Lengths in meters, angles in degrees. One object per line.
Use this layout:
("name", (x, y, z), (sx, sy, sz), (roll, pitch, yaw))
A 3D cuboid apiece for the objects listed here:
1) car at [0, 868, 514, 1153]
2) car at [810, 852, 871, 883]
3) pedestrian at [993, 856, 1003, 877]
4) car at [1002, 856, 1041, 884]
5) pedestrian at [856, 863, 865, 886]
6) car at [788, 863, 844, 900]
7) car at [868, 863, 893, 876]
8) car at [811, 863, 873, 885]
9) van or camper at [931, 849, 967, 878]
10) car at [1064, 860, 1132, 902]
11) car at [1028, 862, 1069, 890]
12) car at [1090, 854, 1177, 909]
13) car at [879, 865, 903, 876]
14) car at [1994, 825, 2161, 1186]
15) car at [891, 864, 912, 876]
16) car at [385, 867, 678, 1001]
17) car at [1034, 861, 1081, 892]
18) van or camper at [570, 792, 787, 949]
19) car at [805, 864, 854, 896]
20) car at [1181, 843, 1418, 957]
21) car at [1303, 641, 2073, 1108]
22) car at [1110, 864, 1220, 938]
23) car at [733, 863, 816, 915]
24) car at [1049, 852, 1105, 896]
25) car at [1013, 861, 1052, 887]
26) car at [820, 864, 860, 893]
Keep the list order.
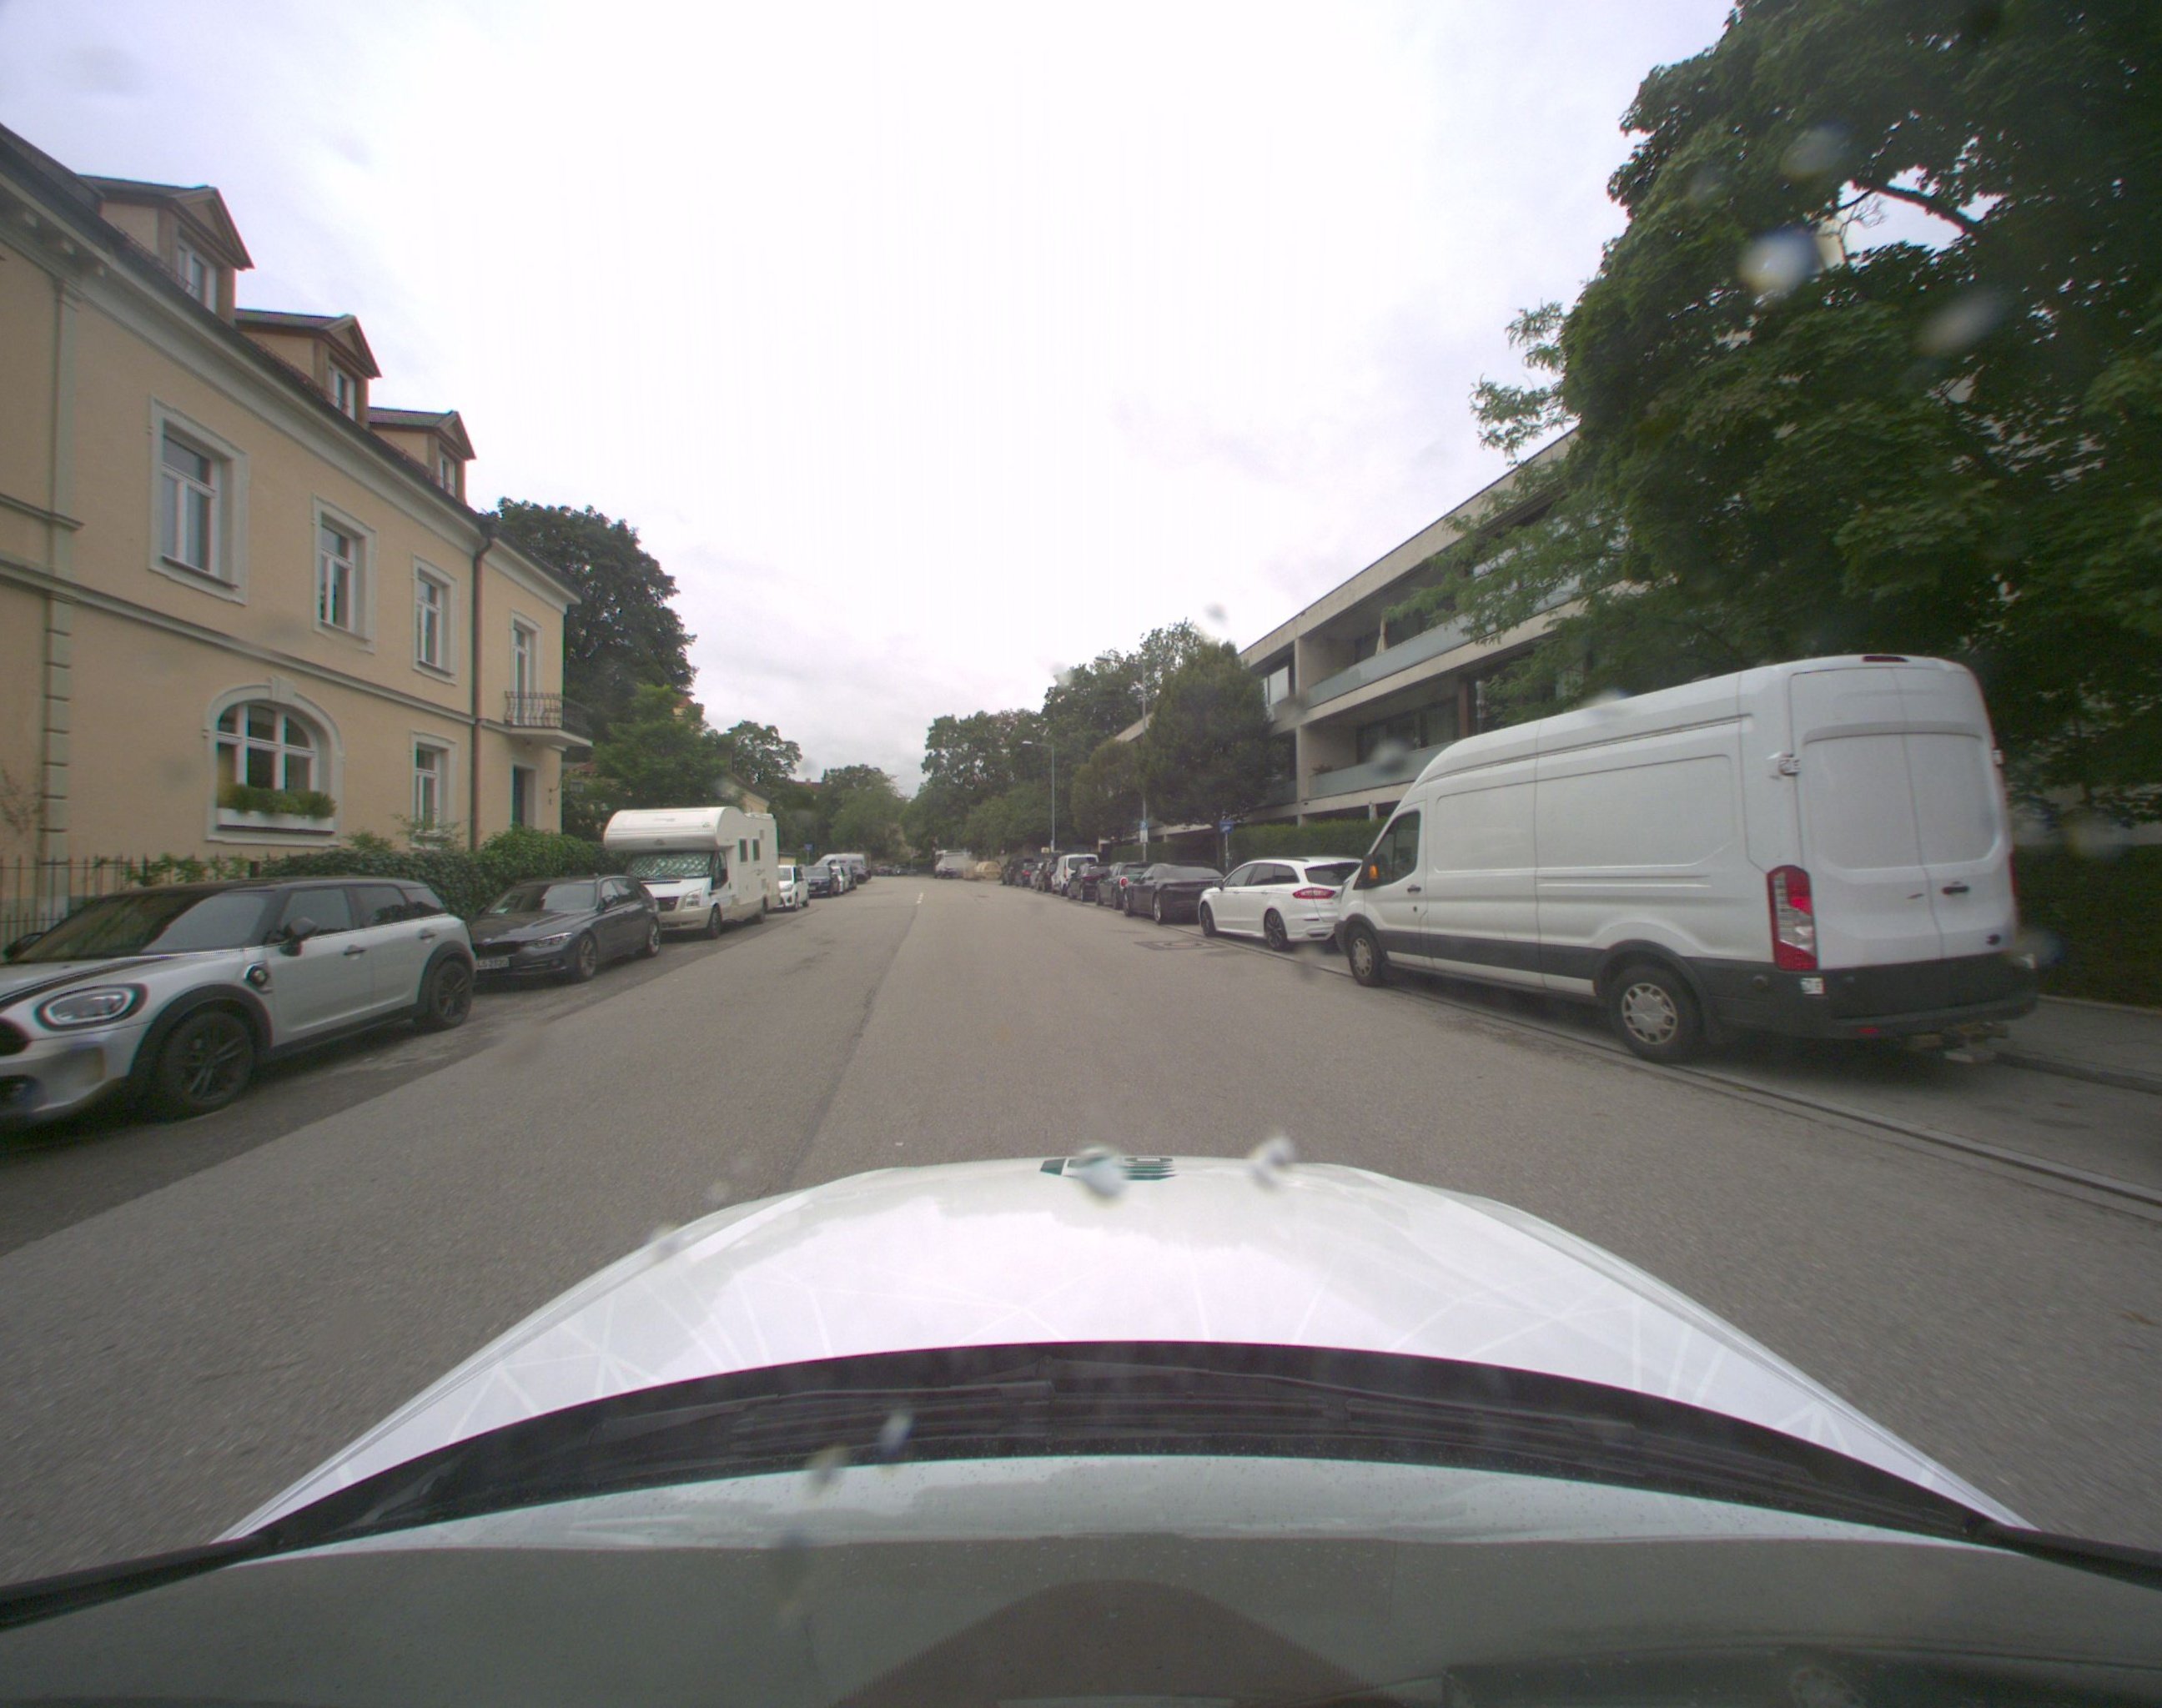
("car", (-6.951, 0.951, 6.692), (1.936, 1.535, 4.516), (-3, 0, -9))
("car", (-21.292, 1.180, 72.126), (4.664, 2.563, 2.206), (-1, 0, -45))
("pedestrian", (-7.892, 1.188, 77.762), (0.799, 1.985, 0.626), (0, -1, -23))
("car", (-4.273, 1.168, 57.344), (1.990, 1.871, 5.054), (0, -2, -13))
("pedestrian", (-16.512, 1.518, 60.990), (0.592, 1.648, 0.709), (-1, 0, -21))
("car", (-12.363, 1.248, 38.261), (1.845, 1.535, 4.425), (-3, -1, -10))
("car", (-29.206, 2.277, 118.427), (2.008, 1.711, 4.833), (-2, 0, -34))
("car", (-18.119, 1.530, 61.722), (4.351, 1.530, 1.918), (0, -2, -25))
("van or camper", (-14.200, 1.031, 87.095), (2.282, 2.906, 7.222), (0, -1, -22))
("car", (0.561, 0.979, 31.148), (1.748, 1.464, 4.226), (-1, 0, -11))
("car", (-1.903, 1.225, 46.547), (1.749, 1.480, 3.873), (0, -1, -11))
("car", (1.568, 0.806, 25.925), (1.727, 1.529, 4.189), (-2, 0, -11))
("car", (-26.766, 2.349, 114.528), (1.890, 1.427, 4.177), (-2, 0, -34))
("car", (5.867, 0.613, 1.803), (1.872, 1.507, 4.818), (-3, 0, -12))
("car", (-24.502, 2.156, 111.111), (1.751, 1.536, 2.915), (-2, -1, -34))
("car", (-7.943, 1.011, 12.460), (1.937, 1.508, 4.803), (-3, 0, -11))
("car", (-1.260, 1.109, 41.989), (1.748, 1.480, 4.581), (0, 0, -11))
("van or camper", (-9.034, 0.331, 19.285), (2.454, 2.941, 7.188), (-2, 0, -9))
("car", (-13.207, 1.323, 42.990), (1.845, 1.535, 4.505), (-3, 0, -10))
("car", (3.571, 0.667, 14.485), (1.873, 1.569, 4.978), (-3, 1, -14))
("car", (4.584, 0.081, 7.880), (2.081, 2.686, 6.063), (-2, 0, -12))
("car", (1.953, 1.054, 20.462), (1.281, 1.506, 5.188), (-3, 0, -11))
("car", (-10.149, 1.100, 27.269), (1.779, 1.535, 4.212), (-3, 0, -11))
("car", (-0.264, 0.872, 36.956), (1.822, 1.861, 4.882), (1, -1, -9))
("car", (-3.146, 1.246, 52.112), (1.750, 1.539, 4.549), (0, -1, -13))
("car", (-14.082, 1.413, 47.810), (1.846, 1.535, 4.543), (-3, 0, -12))
